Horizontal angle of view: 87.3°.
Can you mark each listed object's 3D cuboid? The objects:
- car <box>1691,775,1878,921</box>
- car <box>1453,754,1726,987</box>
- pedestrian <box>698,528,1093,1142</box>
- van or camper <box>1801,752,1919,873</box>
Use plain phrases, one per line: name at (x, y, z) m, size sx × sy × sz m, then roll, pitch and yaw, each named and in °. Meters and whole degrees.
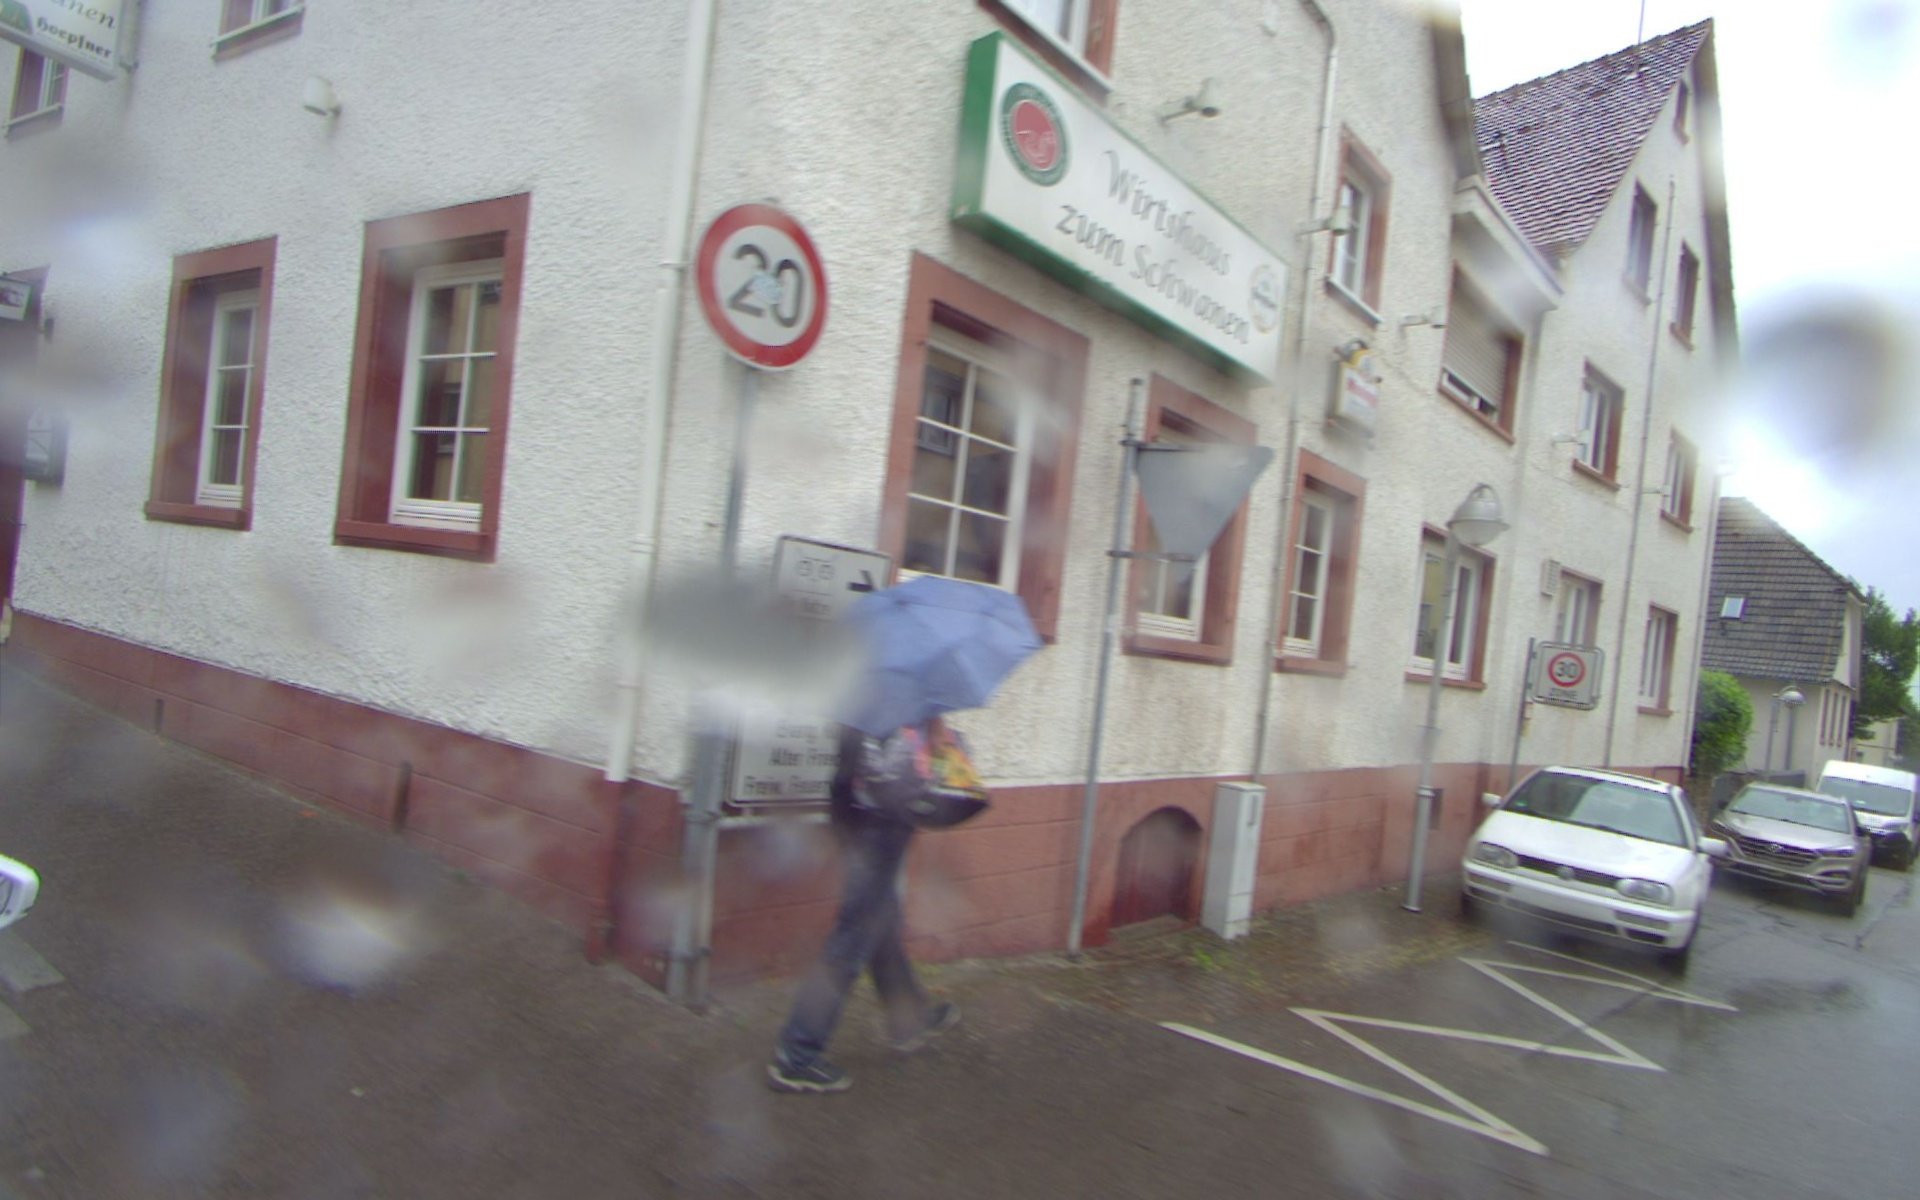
car at (12.971, 3.772, 15.737) m, size 1.804 × 1.630 × 4.004 m, roll 7°, pitch -3°, yaw 44°
car at (5.980, 2.267, 9.331) m, size 1.638 × 1.389 × 3.951 m, roll 6°, pitch -3°, yaw 38°
pedestrian at (-0.277, 0.694, 3.464) m, size 0.802 × 1.757 × 0.990 m, roll 8°, pitch 1°, yaw -27°
van or camper at (24.139, 5.561, 26.709) m, size 2.060 × 2.507 × 5.868 m, roll 8°, pitch -2°, yaw 45°
